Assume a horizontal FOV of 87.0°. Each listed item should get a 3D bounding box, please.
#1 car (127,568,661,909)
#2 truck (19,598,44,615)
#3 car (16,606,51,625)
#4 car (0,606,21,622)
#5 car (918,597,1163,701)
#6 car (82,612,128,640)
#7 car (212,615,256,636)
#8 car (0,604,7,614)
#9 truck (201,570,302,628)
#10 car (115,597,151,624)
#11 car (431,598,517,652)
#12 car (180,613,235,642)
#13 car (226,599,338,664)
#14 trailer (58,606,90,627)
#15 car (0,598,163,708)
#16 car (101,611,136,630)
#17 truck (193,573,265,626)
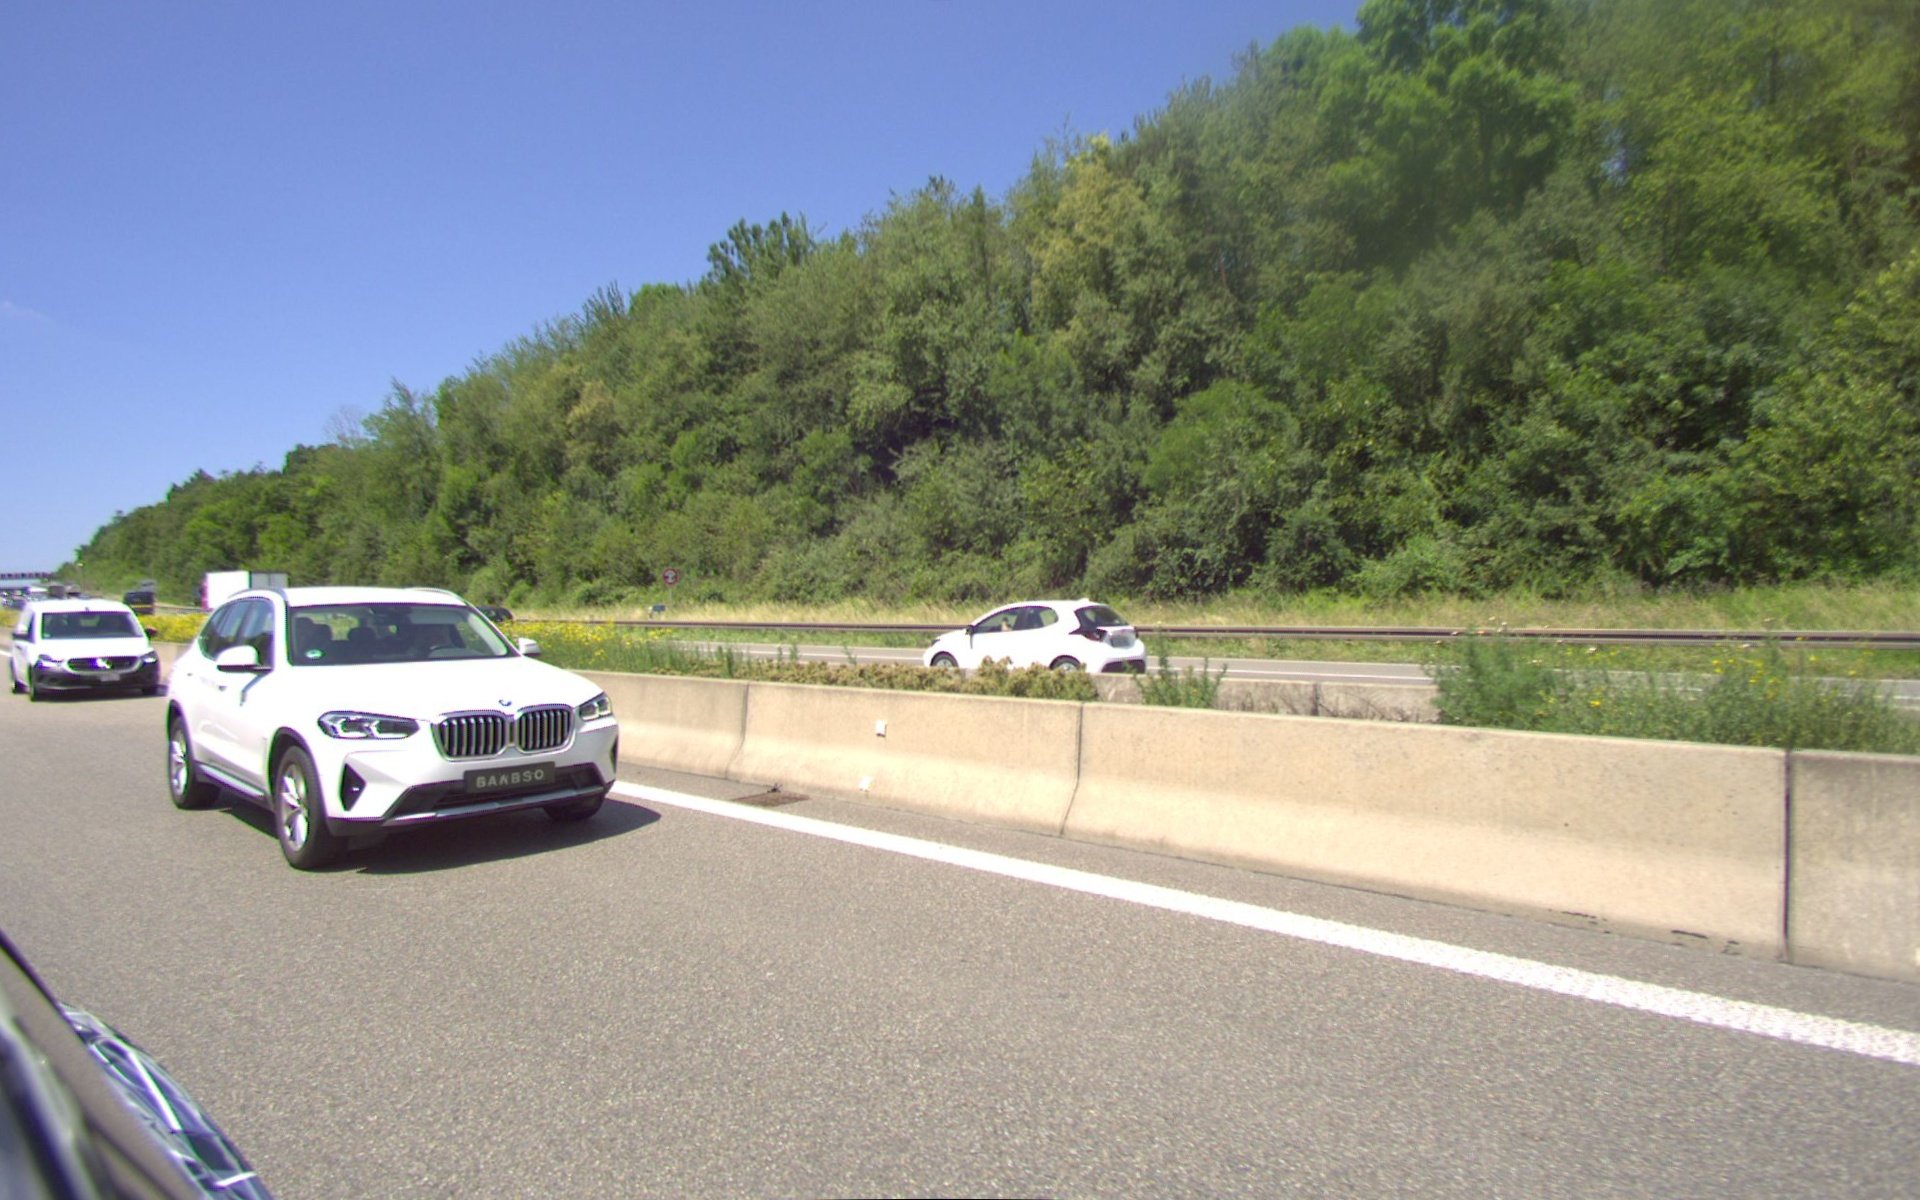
[{"bbox_3d":[-4.391,0.742,7.405,4.953,1.707,1.845,-2,-1,41],"label":"car"},{"bbox_3d":[-168.165,1.192,183.286,7.782,3.143,2.511,-1,0,42],"label":"truck"},{"bbox_3d":[-82.369,1.381,89.958,3.998,1.680,1.897,-1,0,41],"label":"car"},{"bbox_3d":[-106.718,1.564,113.332,3.999,1.698,1.973,-1,0,42],"label":"car"},{"bbox_3d":[1.262,0.744,16.797,3.826,1.519,1.654,-1,0,41],"label":"car"},{"bbox_3d":[-49.673,1.492,58.786,3.359,1.520,1.581,-1,0,42],"label":"car"},{"bbox_3d":[-49.809,1.737,69.431,3.505,1.399,1.598,-2,-1,40],"label":"car"},{"bbox_3d":[-163.649,1.558,171.897,4.146,1.698,2.130,-1,0,42],"label":"car"},{"bbox_3d":[-56.372,-0.033,80.253,13.791,4.226,3.669,0,0,43],"label":"truck"},{"bbox_3d":[-78.109,0.978,95.545,3.998,2.448,1.973,-1,0,41],"label":"car"},{"bbox_3d":[-19.265,0.964,40.070,3.997,2.029,1.616,-1,0,41],"label":"car"},{"bbox_3d":[-40.586,1.489,54.584,3.505,1.492,1.598,-2,-1,40],"label":"car"},{"bbox_3d":[-22.838,1.001,34.016,4.898,2.029,1.972,-1,0,42],"label":"car"},{"bbox_3d":[-89.161,1.656,101.817,3.999,2.029,1.972,-1,0,42],"label":"trailer"},{"bbox_3d":[-16.724,0.942,19.136,4.671,1.826,1.747,-2,-1,41],"label":"car"},{"bbox_3d":[-64.005,1.557,76.974,3.359,1.394,1.581,-1,0,42],"label":"car"},{"bbox_3d":[-61.098,-0.010,84.546,6.284,4.226,3.670,-1,0,42],"label":"truck"}]
